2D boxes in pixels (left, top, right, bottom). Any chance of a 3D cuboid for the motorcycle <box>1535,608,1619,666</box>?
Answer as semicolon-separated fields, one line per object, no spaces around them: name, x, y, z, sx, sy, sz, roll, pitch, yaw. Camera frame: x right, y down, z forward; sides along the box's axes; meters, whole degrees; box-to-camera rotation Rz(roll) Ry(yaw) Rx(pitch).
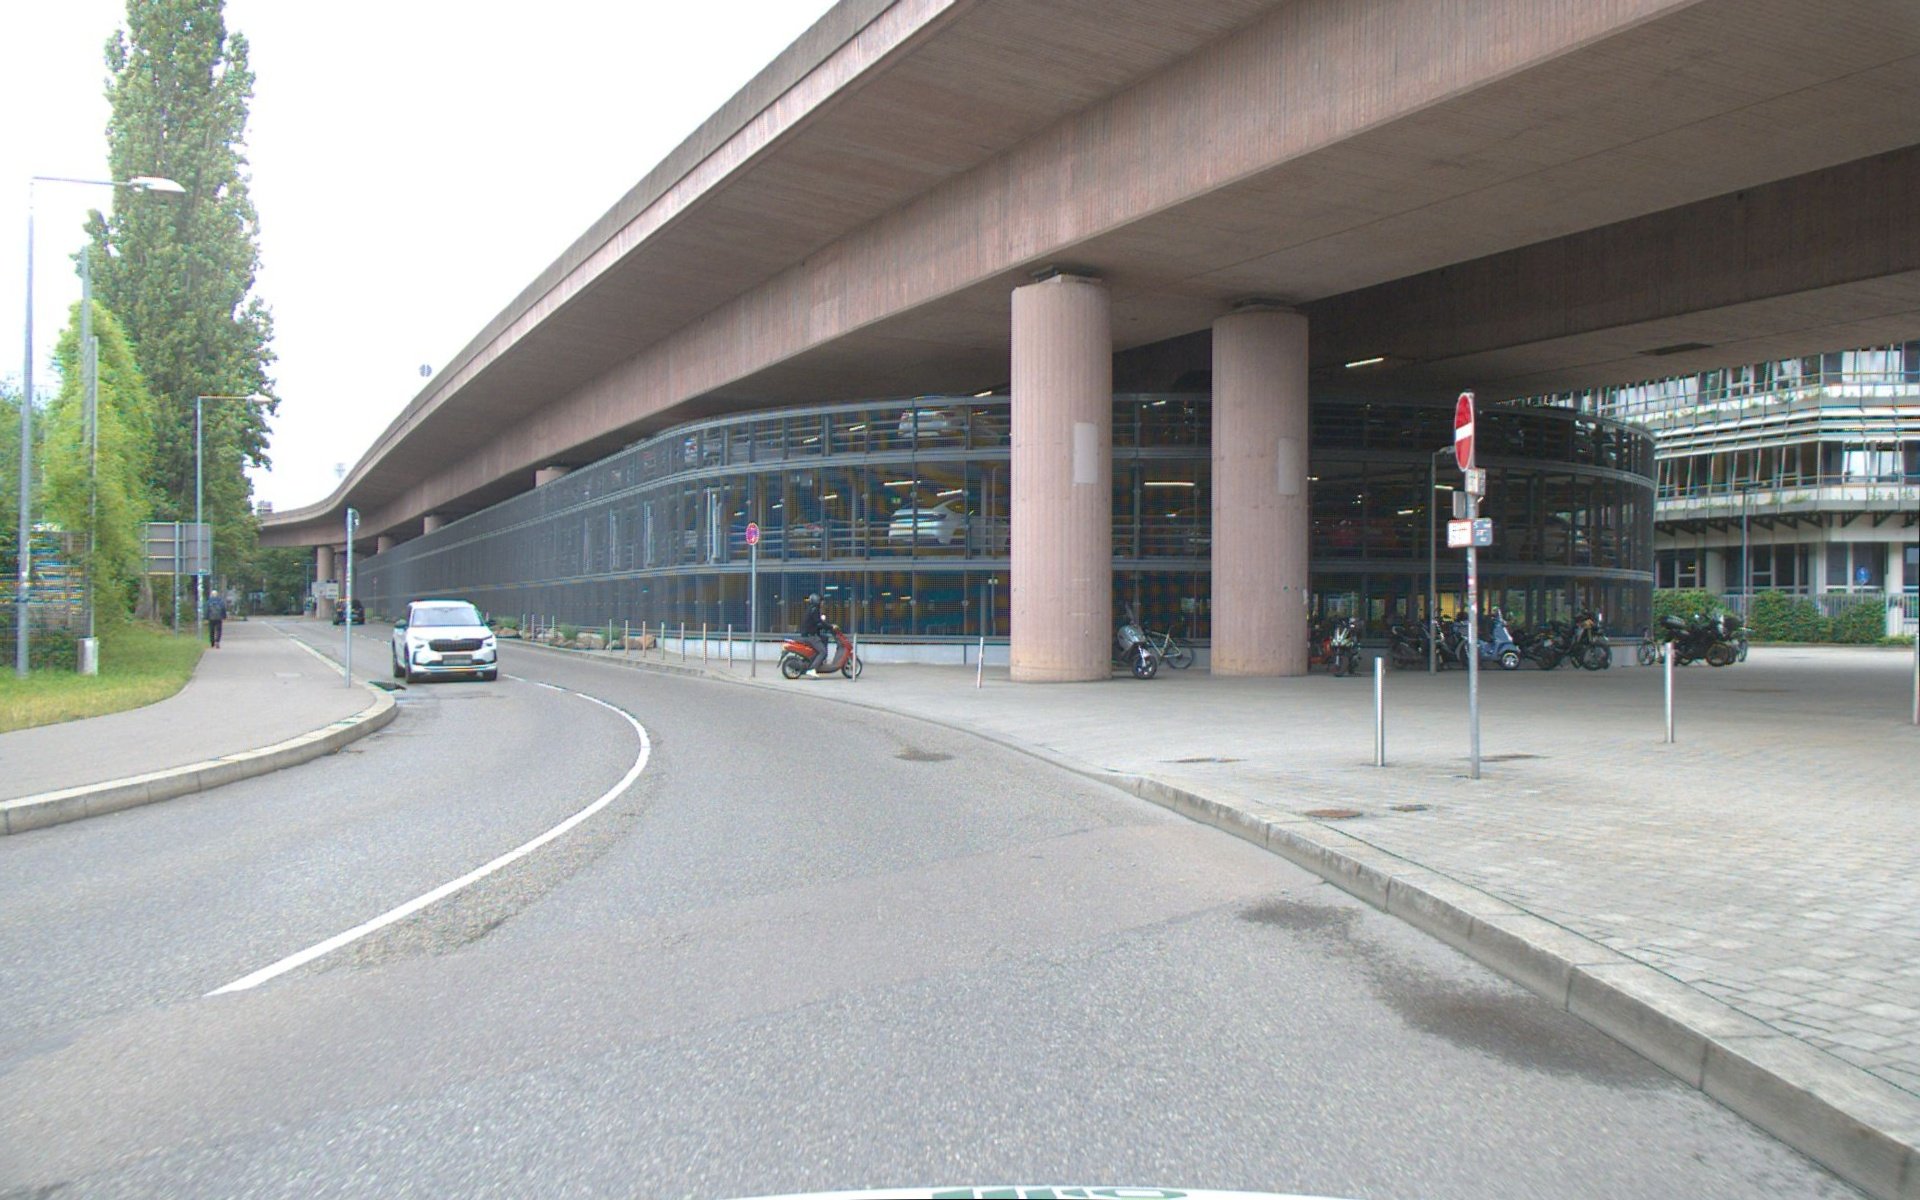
motorcycle;14.836;0.877;39.799;0.663;1.308;2.064;0;1;-23

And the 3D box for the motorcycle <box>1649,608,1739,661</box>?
motorcycle;19.136;0.877;43.186;0.663;1.298;2.347;0;1;-23

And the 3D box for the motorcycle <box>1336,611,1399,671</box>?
motorcycle;8.961;0.878;36.460;0.813;1.241;2.078;0;1;-2

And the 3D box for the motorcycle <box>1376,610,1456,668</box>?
motorcycle;10.560;0.889;38.396;0.663;1.241;2.064;0;1;-23

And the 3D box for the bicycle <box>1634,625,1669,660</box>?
bicycle;19.131;1.172;45.738;0.467;0.911;1.497;1;1;40

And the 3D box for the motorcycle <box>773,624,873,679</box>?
motorcycle;-2.710;1.015;32.636;1.914;1.040;0.747;0;1;-10

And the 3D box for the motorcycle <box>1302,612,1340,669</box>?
motorcycle;8.151;0.900;37.369;0.510;1.241;1.149;0;1;-6

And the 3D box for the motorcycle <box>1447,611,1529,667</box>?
motorcycle;12.472;0.906;39.150;0.663;1.241;2.064;0;1;-23

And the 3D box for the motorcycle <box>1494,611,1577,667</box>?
motorcycle;13.666;0.902;39.316;0.663;1.241;2.064;0;1;-23

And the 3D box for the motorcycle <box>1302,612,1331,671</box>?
motorcycle;7.759;0.891;36.015;0.509;1.241;1.151;0;1;6

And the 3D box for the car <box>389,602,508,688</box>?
car;-11.014;0.902;35.436;1.841;1.713;4.369;0;0;-26

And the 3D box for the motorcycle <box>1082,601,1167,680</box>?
motorcycle;3.239;0.778;32.709;0.638;1.480;1.737;0;1;-39

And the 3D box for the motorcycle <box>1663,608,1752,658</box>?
motorcycle;19.947;0.859;44.212;0.663;1.241;2.347;0;1;-23

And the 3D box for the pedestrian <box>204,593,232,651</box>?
pedestrian;-23.380;0.677;52.141;0.793;1.812;0.913;0;1;-24

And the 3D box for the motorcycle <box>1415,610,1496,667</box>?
motorcycle;11.553;0.888;38.631;0.663;1.241;2.064;0;1;-23

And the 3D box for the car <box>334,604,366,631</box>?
car;-41.456;1.184;112.323;1.815;1.741;3.678;0;1;-24

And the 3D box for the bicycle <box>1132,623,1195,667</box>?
bicycle;4.764;1.052;38.810;1.441;0.993;0.452;0;1;1

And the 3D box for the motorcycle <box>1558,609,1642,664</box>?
motorcycle;15.575;0.870;40.318;0.663;1.241;2.064;0;1;-23

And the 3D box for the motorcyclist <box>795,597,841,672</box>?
motorcyclist;-2.804;0.670;32.626;0.851;1.444;0.762;0;1;-10

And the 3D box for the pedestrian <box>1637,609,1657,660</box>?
pedestrian;27.897;1.406;67.157;0.518;2.049;0.571;1;-1;-14

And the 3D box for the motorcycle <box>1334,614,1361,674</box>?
motorcycle;7.867;0.899;33.635;0.509;1.191;1.151;0;-2;12
